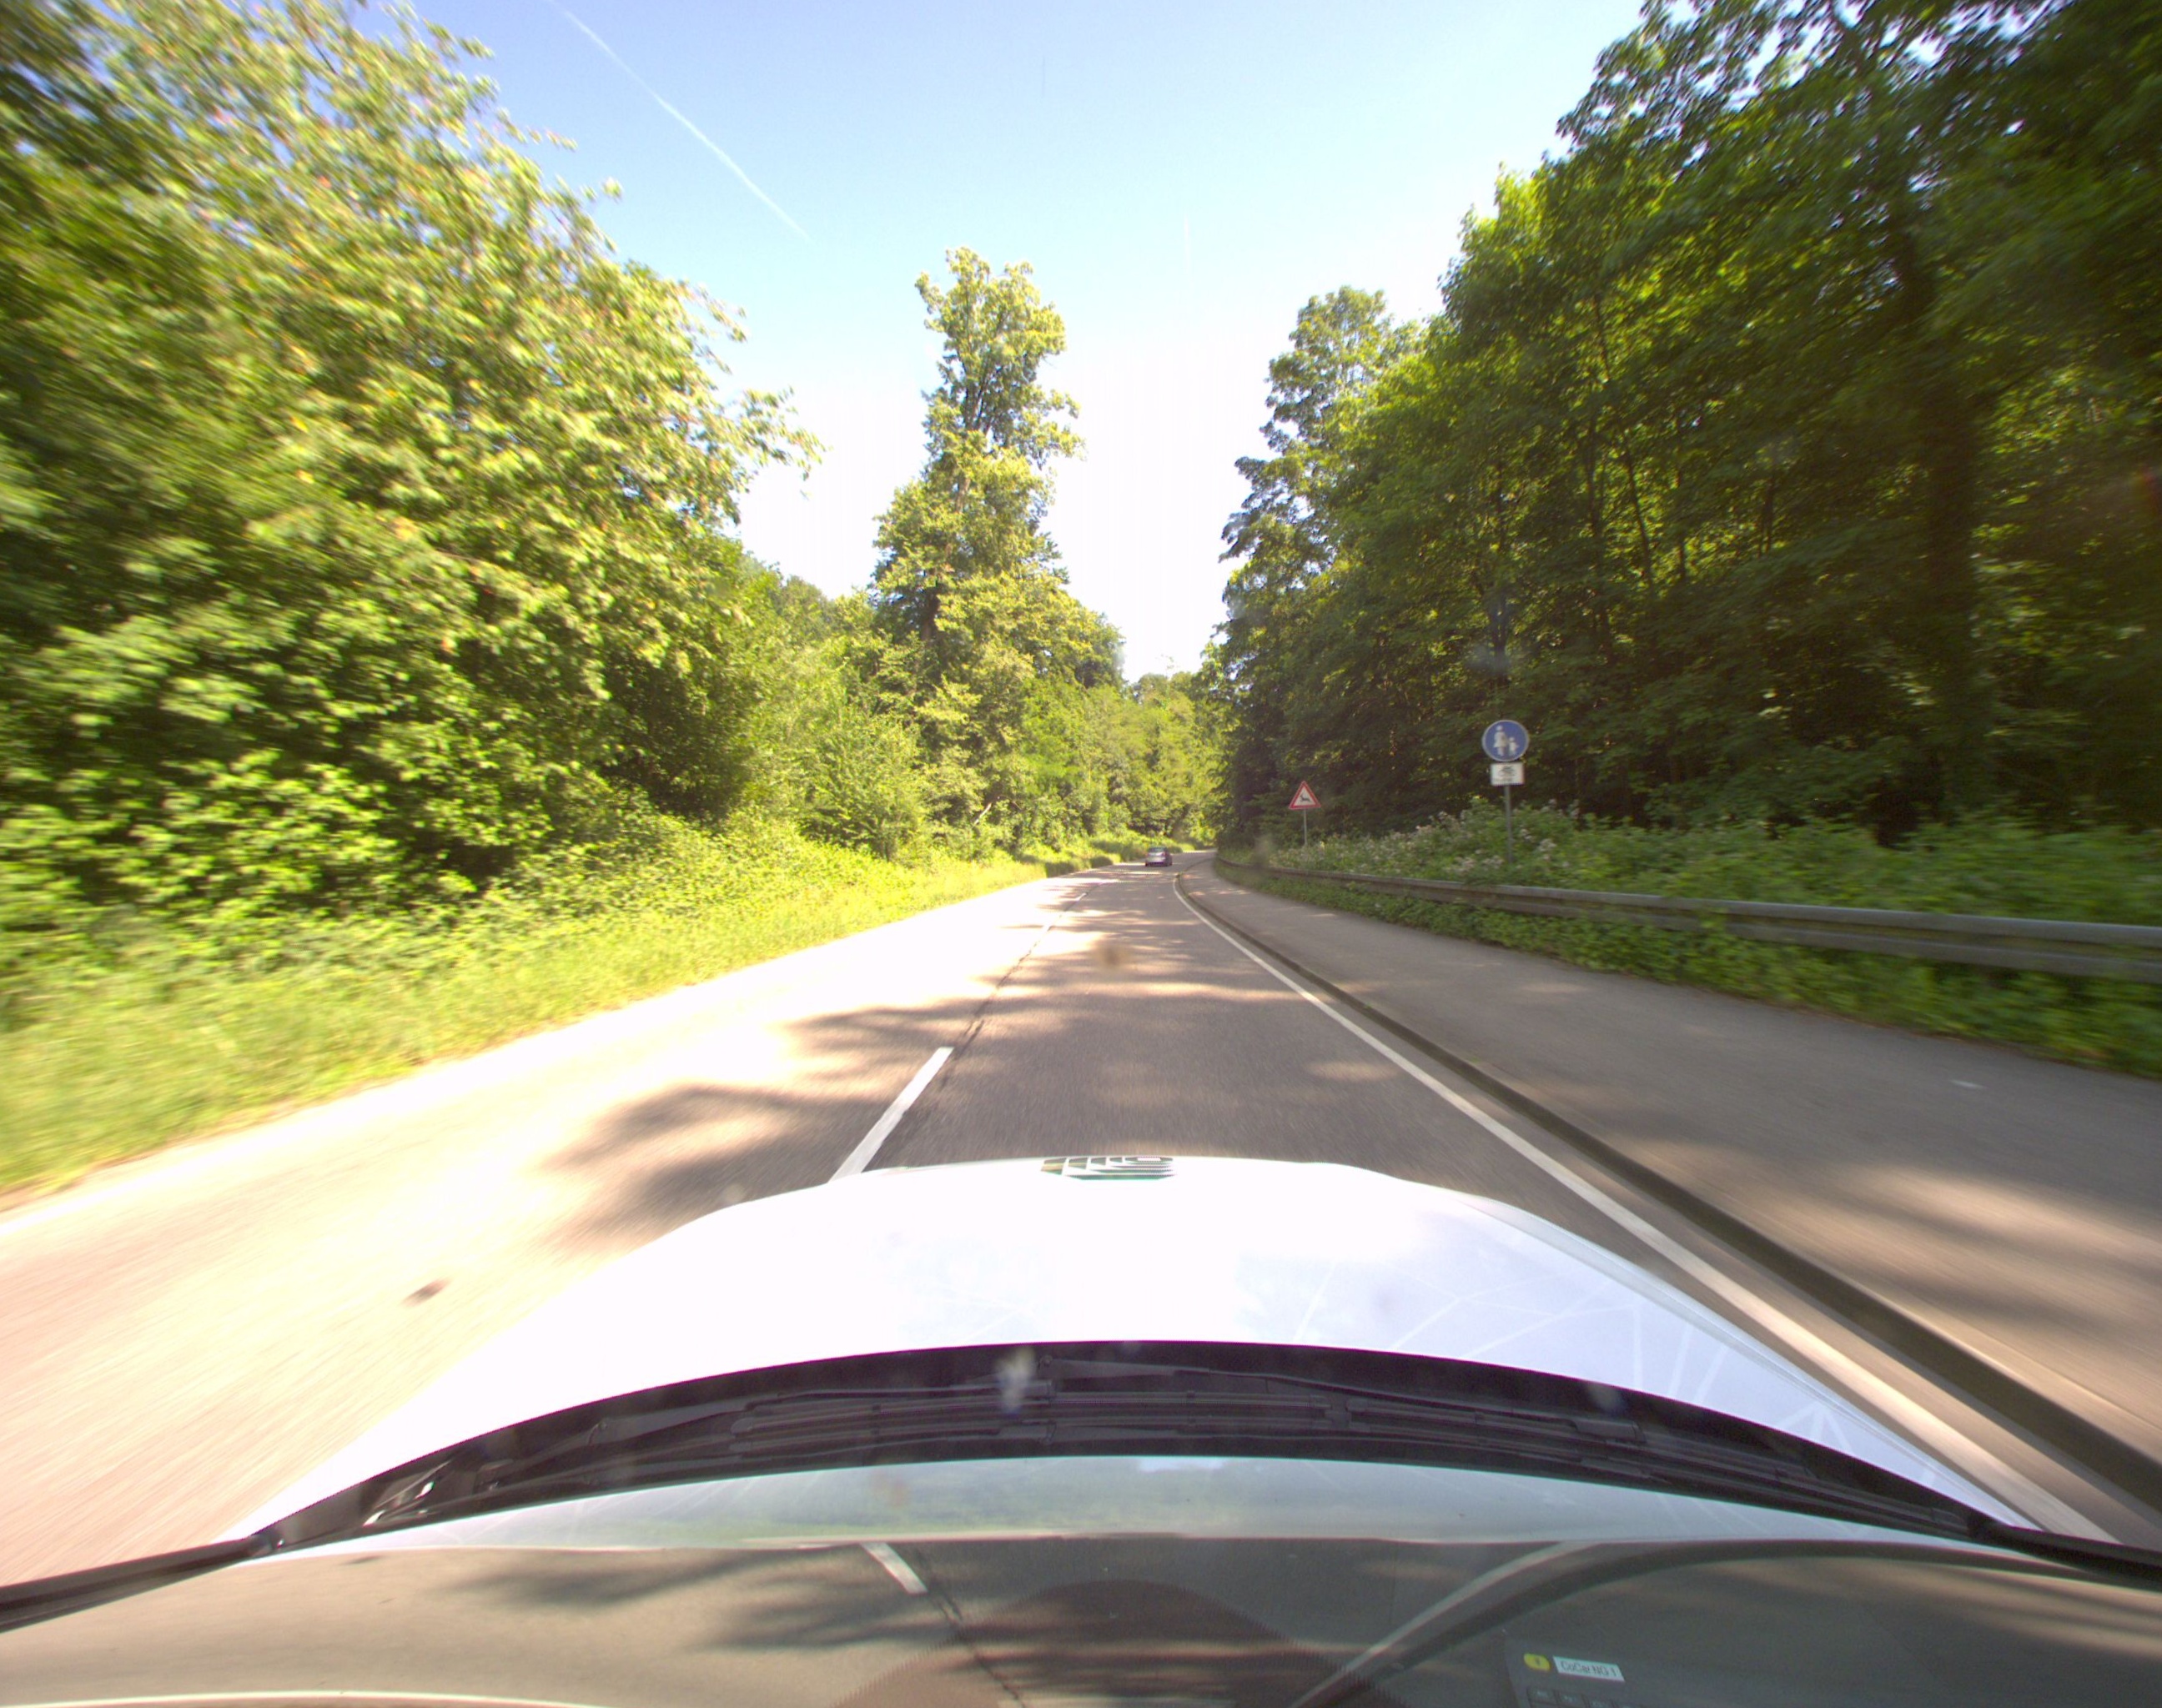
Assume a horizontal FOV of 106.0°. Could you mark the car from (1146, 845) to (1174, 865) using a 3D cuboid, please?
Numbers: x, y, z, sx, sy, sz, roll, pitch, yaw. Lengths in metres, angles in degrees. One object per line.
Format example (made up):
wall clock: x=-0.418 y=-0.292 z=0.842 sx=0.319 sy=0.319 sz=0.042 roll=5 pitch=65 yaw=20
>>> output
car: x=6.140 y=0.058 z=63.182 sx=1.740 sy=1.520 sz=4.172 roll=-1 pitch=0 yaw=11
